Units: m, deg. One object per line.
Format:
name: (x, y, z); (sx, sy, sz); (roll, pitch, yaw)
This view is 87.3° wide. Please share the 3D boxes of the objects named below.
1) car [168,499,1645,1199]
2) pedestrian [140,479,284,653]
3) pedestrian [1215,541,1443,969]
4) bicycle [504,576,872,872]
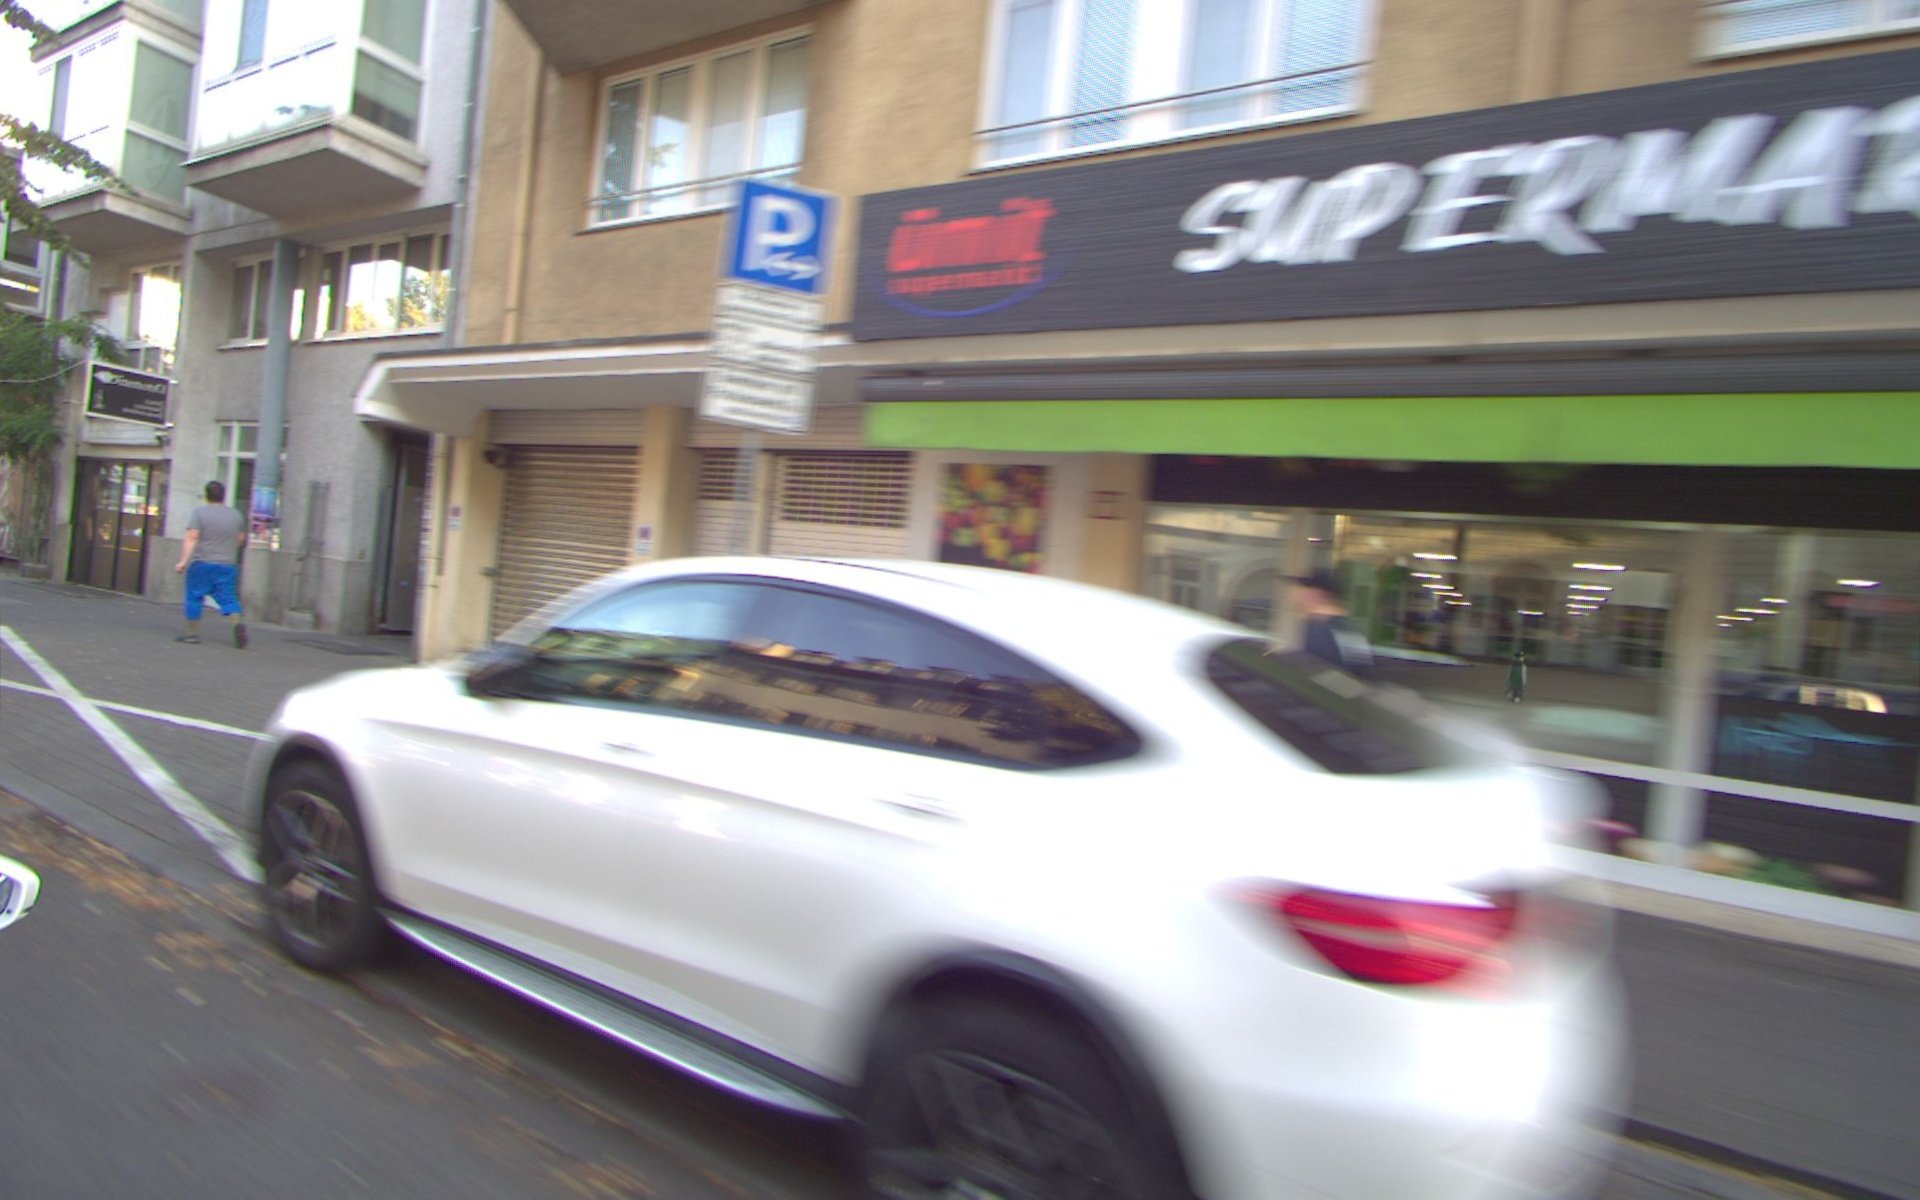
car: (-0.576, 0.644, 3.464); (4.614, 1.595, 1.879); (6, 2, 32)
pedestrian: (-8.390, -0.363, 11.293); (0.979, 1.817, 0.857); (6, 1, 28)
pedestrian: (1.715, 0.647, 4.628); (0.689, 1.726, 0.788); (6, 2, 31)
bicycle: (-1.583, 0.599, 5.693); (2.016, 1.279, 0.775); (6, 2, 32)
